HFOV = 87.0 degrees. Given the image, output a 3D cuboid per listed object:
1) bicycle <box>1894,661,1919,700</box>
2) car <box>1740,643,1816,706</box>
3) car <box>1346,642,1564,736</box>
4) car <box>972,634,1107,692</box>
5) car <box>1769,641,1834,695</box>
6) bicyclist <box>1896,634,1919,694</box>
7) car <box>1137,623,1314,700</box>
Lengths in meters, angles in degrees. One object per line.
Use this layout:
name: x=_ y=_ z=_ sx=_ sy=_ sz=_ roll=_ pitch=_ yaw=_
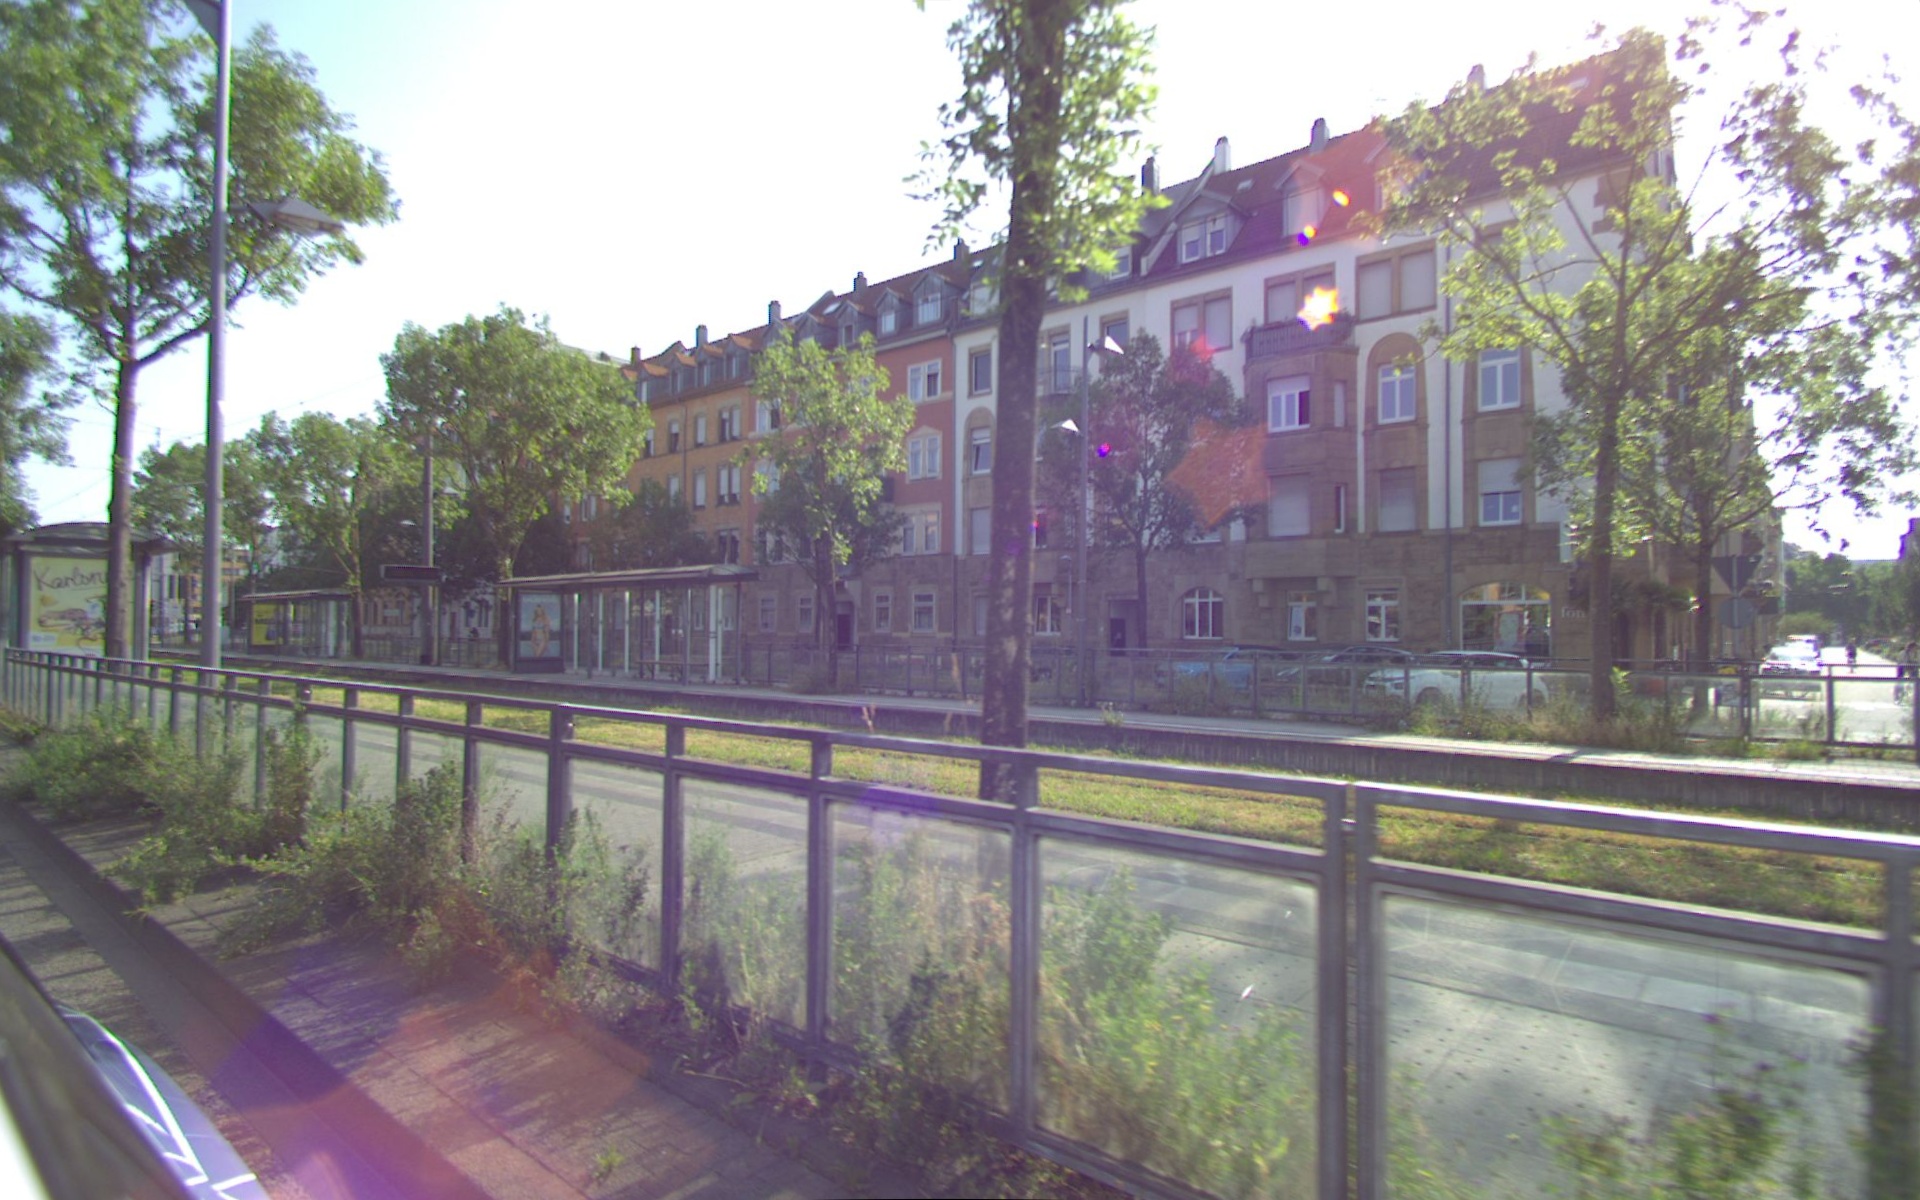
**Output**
bicycle: x=25.978 y=2.168 z=27.356 sx=0.856 sy=0.872 sz=1.994 roll=-1 pitch=0 yaw=37
car: x=24.998 y=2.227 z=30.889 sx=1.604 sy=1.595 sz=3.774 roll=-1 pitch=0 yaw=42
car: x=10.928 y=1.908 z=22.446 sx=3.933 sy=1.739 sz=2.006 roll=-1 pitch=0 yaw=-15
car: x=2.528 y=1.965 z=32.573 sx=3.998 sy=1.632 sz=1.882 roll=-1 pitch=0 yaw=41
car: x=31.684 y=2.511 z=38.072 sx=1.727 sy=1.707 sz=3.945 roll=-1 pitch=0 yaw=42
bicyclist: x=25.866 y=1.710 z=27.257 sx=0.848 sy=1.570 sz=0.891 roll=-1 pitch=0 yaw=37
car: x=6.872 y=1.543 z=26.363 sx=3.933 sy=1.739 sz=2.006 roll=-1 pitch=0 yaw=-15
